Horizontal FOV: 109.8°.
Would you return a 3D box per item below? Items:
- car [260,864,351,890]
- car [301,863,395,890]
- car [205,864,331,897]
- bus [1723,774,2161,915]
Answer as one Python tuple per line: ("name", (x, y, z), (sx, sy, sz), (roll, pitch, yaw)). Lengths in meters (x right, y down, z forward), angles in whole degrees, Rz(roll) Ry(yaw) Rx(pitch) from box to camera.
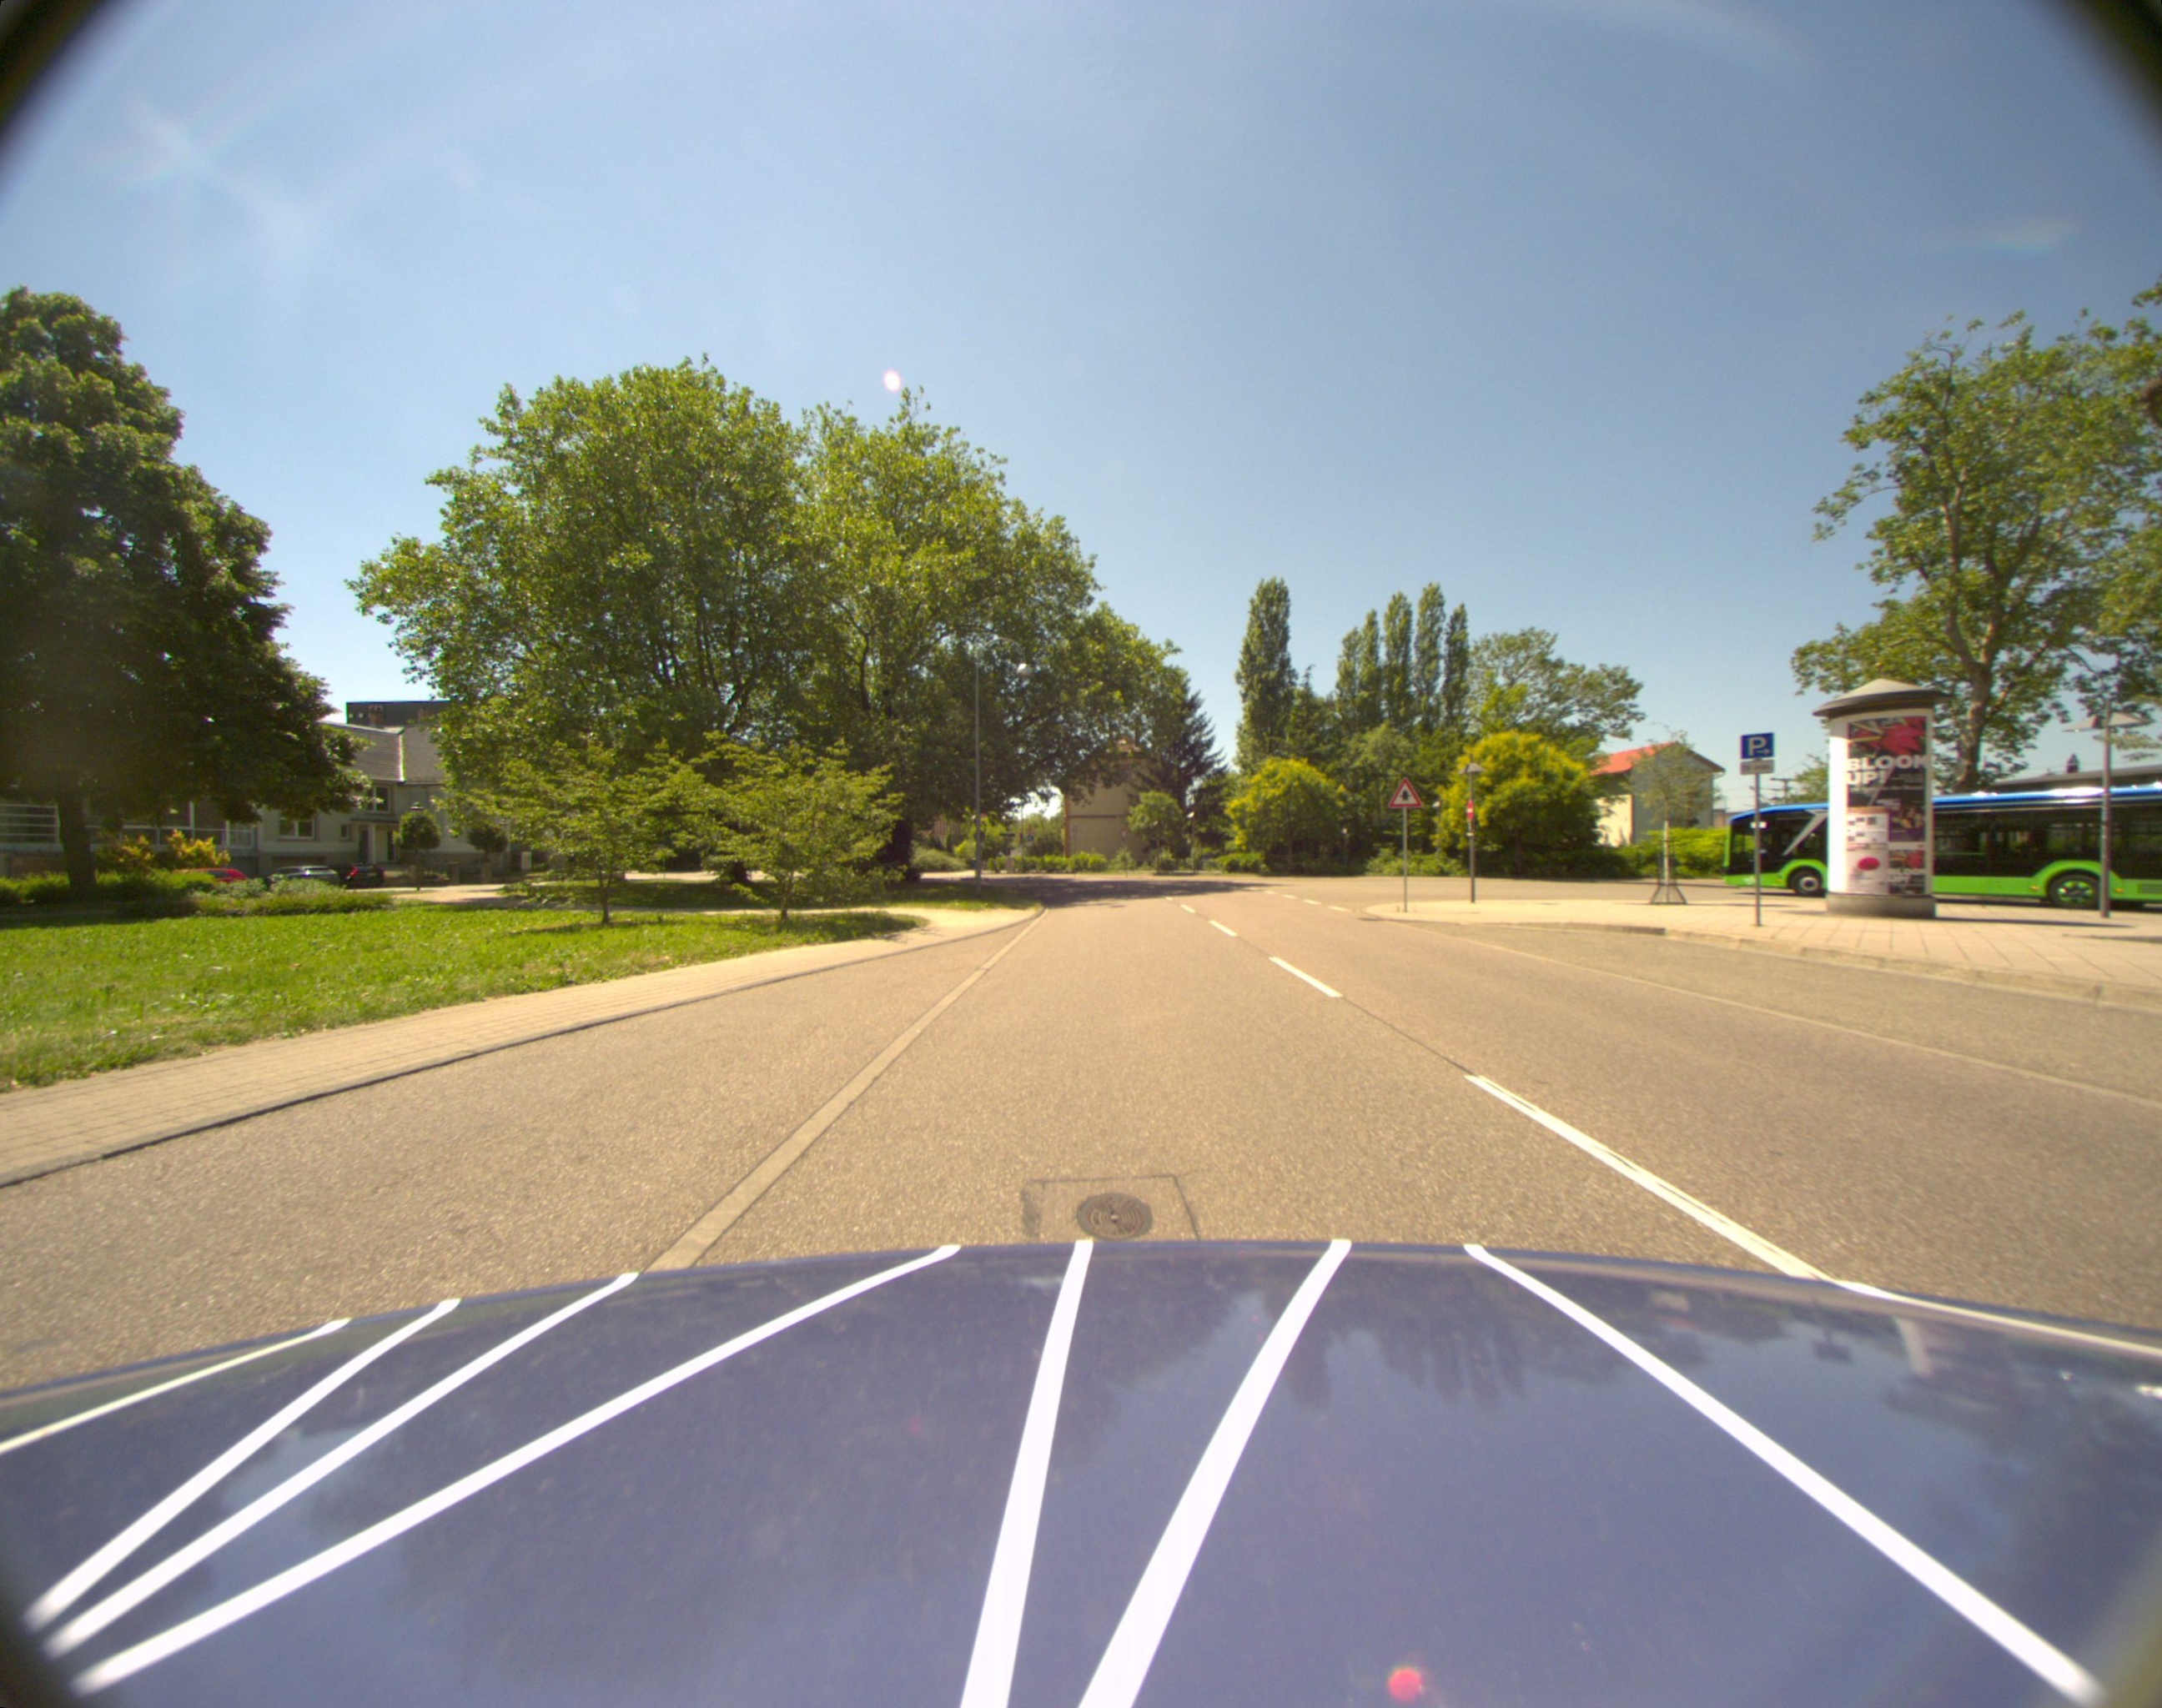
("car", (-44.342, 1.296, 43.490), (3.992, 1.383, 2.002), (0, 0, 17))
("car", (-44.507, 1.334, 46.177), (3.995, 1.559, 2.001), (0, 0, 6))
("car", (-41.036, 1.279, 38.477), (1.751, 1.515, 4.004), (0, 0, 13))
("bus", (26.965, -0.253, 23.179), (2.170, 3.505, 12.206), (-1, 0, -15))
